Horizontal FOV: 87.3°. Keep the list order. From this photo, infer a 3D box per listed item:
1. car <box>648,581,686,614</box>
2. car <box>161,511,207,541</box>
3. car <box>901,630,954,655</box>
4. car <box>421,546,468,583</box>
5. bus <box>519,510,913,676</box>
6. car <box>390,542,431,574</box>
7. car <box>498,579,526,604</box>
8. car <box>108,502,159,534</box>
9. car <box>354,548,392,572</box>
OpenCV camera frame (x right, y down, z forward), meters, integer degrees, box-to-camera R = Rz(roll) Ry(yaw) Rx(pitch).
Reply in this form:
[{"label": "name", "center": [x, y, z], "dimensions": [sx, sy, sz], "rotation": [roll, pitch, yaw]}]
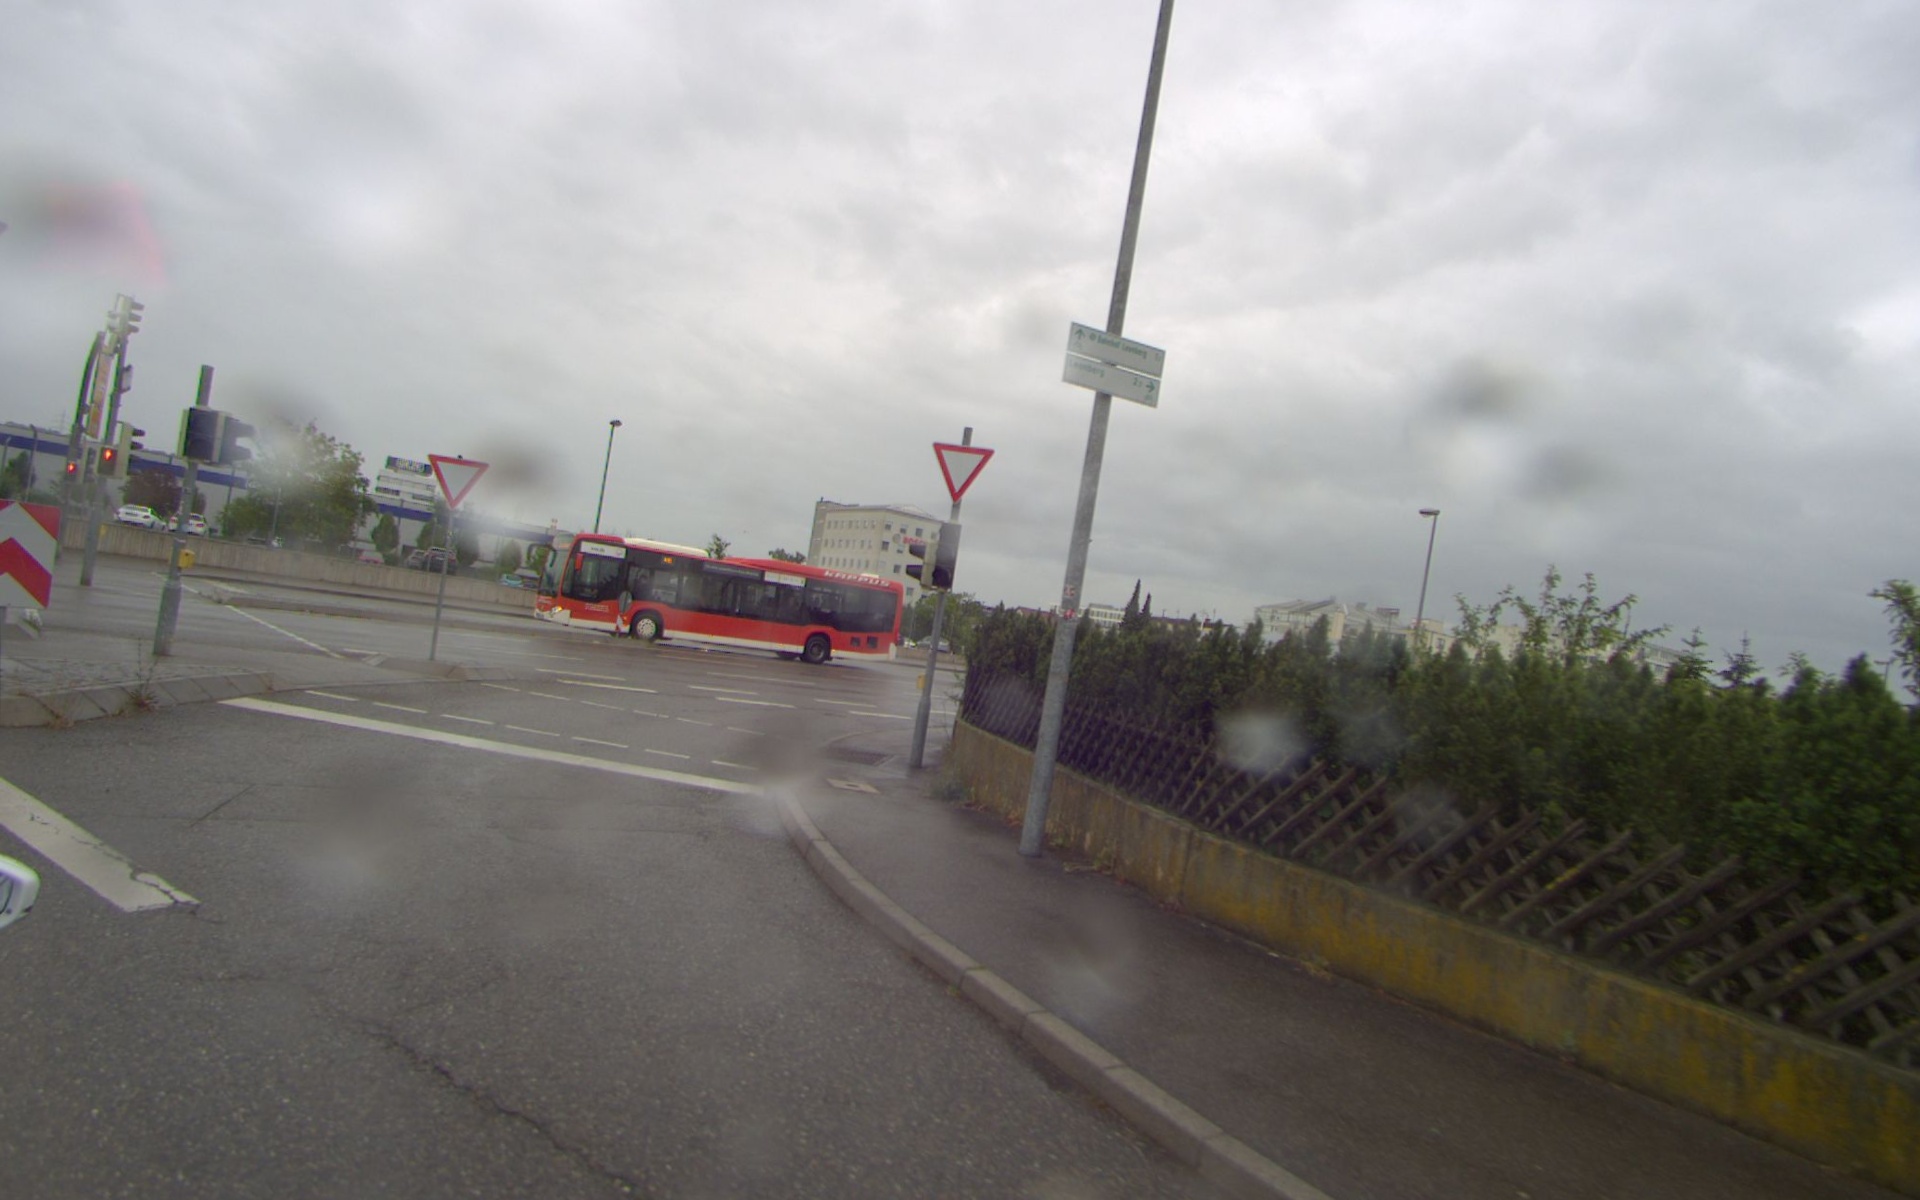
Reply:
[{"label": "car", "center": [-18.319, -0.151, 62.857], "dimensions": [1.749, 1.734, 3.630], "rotation": [9, -2, -22]}, {"label": "car", "center": [-47.597, -4.545, 61.759], "dimensions": [1.985, 1.495, 3.959], "rotation": [9, -2, -37]}, {"label": "car", "center": [-2.756, 3.573, 85.183], "dimensions": [3.950, 1.495, 1.990], "rotation": [9, -2, -23]}, {"label": "car", "center": [-28.429, -1.935, 55.583], "dimensions": [1.749, 1.734, 3.631], "rotation": [9, -2, -21]}, {"label": "bus", "center": [-7.539, -0.012, 33.236], "dimensions": [12.232, 3.357, 3.042], "rotation": [11, -3, -38]}, {"label": "car", "center": [-35.152, -2.634, 64.414], "dimensions": [1.699, 1.734, 3.630], "rotation": [9, -2, -22]}, {"label": "car", "center": [-36.562, -0.727, 82.107], "dimensions": [1.749, 1.734, 3.630], "rotation": [9, -2, -22]}, {"label": "car", "center": [-49.345, -4.867, 60.122], "dimensions": [1.985, 1.495, 3.960], "rotation": [9, -2, -37]}, {"label": "car", "center": [-44.588, -3.042, 76.482], "dimensions": [1.749, 1.496, 3.630], "rotation": [9, -2, -22]}]
